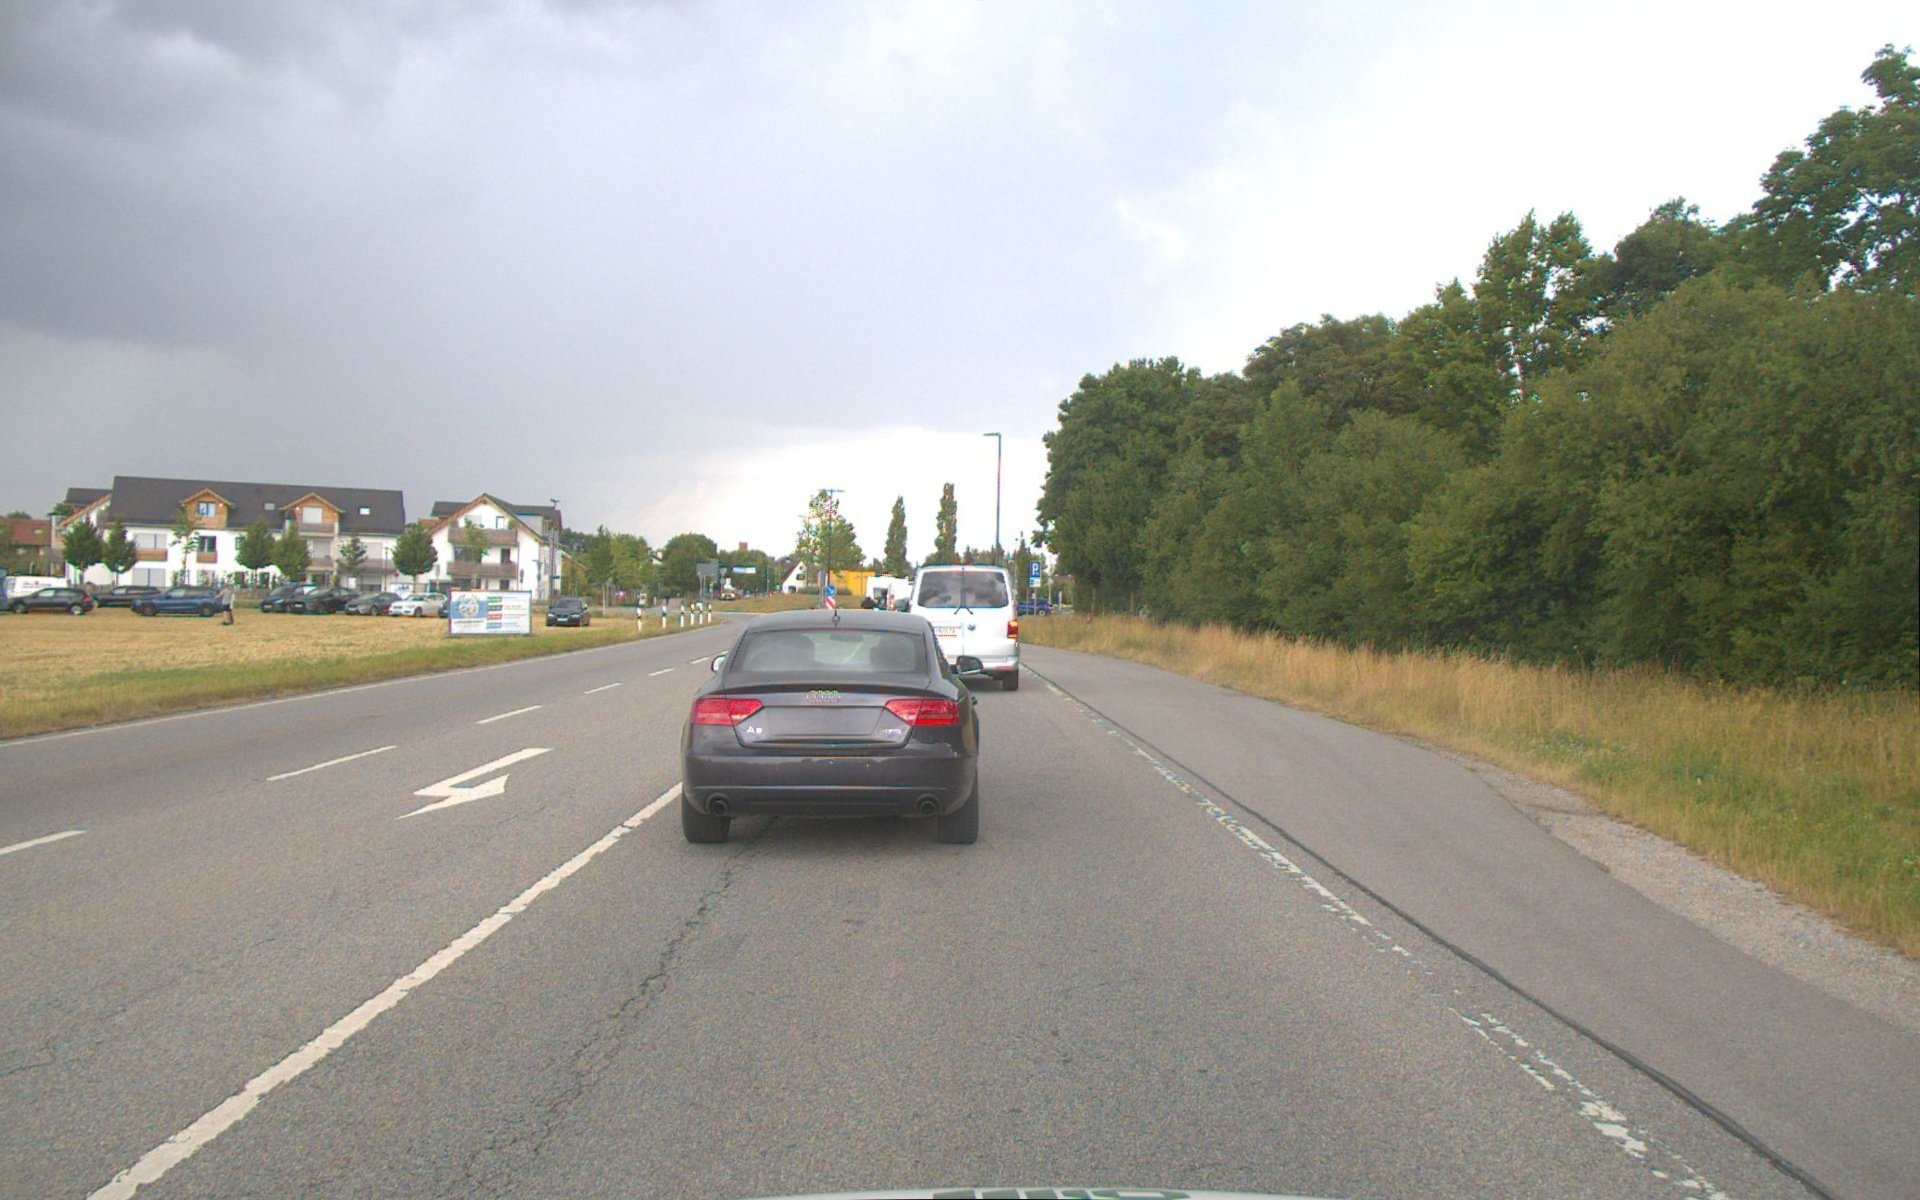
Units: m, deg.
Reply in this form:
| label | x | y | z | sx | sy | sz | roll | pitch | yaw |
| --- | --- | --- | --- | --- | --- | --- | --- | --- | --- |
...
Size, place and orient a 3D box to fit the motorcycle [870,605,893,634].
| label | x | y | z | sx | sy | sz | roll | pitch | yaw |
| --- | --- | --- | --- | --- | --- | --- | --- | --- | --- |
| motorcycle | -3.181 | 0.793 | 67.101 | 0.901 | 1.113 | 2.188 | 1 | 0 | -2 |

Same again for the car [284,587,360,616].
| label | x | y | z | sx | sy | sz | roll | pitch | yaw |
| --- | --- | --- | --- | --- | --- | --- | --- | --- | --- |
| car | -37.458 | 0.096 | 97.186 | 1.952 | 1.657 | 4.214 | 1 | 0 | 17 |

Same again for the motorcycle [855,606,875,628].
| label | x | y | z | sx | sy | sz | roll | pitch | yaw |
| --- | --- | --- | --- | --- | --- | --- | --- | --- | --- |
| motorcycle | -4.642 | 0.805 | 80.762 | 0.925 | 1.037 | 2.283 | 1 | 0 | -3 |

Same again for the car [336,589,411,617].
| label | x | y | z | sx | sy | sz | roll | pitch | yaw |
| --- | --- | --- | --- | --- | --- | --- | --- | --- | --- |
| car | -34.320 | 0.183 | 96.898 | 1.952 | 1.562 | 4.214 | 1 | 0 | 17 |

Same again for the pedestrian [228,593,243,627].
| label | x | y | z | sx | sy | sz | roll | pitch | yaw |
| --- | --- | --- | --- | --- | --- | --- | --- | --- | --- |
| pedestrian | -34.210 | 0.474 | 78.111 | 0.580 | 1.583 | 0.622 | 1 | 0 | -20 |

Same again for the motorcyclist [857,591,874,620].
| label | x | y | z | sx | sy | sz | roll | pitch | yaw |
| --- | --- | --- | --- | --- | --- | --- | --- | --- | --- |
| motorcyclist | -4.622 | 0.281 | 80.743 | 0.770 | 1.380 | 0.853 | 1 | 0 | -3 |

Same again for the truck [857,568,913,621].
| label | x | y | z | sx | sy | sz | roll | pitch | yaw |
| --- | --- | --- | --- | --- | --- | --- | --- | --- | --- |
| truck | -4.212 | -0.315 | 91.793 | 2.577 | 2.785 | 5.857 | 2 | 0 | -7 |

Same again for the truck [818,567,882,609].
| label | x | y | z | sx | sy | sz | roll | pitch | yaw |
| --- | --- | --- | --- | --- | --- | --- | --- | --- | --- |
| truck | -10.307 | -1.155 | 153.904 | 3.522 | 3.641 | 9.903 | 2 | 0 | -19 |

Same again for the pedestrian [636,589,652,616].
| label | x | y | z | sx | sy | sz | roll | pitch | yaw |
| --- | --- | --- | --- | --- | --- | --- | --- | --- | --- |
| pedestrian | -19.352 | 0.151 | 101.304 | 0.686 | 1.613 | 0.658 | 1 | 0 | 16 |

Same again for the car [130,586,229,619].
| label | x | y | z | sx | sy | sz | roll | pitch | yaw |
| --- | --- | --- | --- | --- | --- | --- | --- | --- | --- |
| car | -42.143 | 0.134 | 89.425 | 4.648 | 1.727 | 1.987 | 1 | 0 | -21 |

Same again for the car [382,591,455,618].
| label | x | y | z | sx | sy | sz | roll | pitch | yaw |
| --- | --- | --- | --- | --- | --- | --- | --- | --- | --- |
| car | -31.594 | 0.252 | 96.572 | 1.952 | 1.471 | 4.214 | 1 | 0 | 17 |

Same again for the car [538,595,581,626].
| label | x | y | z | sx | sy | sz | roll | pitch | yaw |
| --- | --- | --- | --- | --- | --- | --- | --- | --- | --- |
| car | -20.226 | 0.510 | 83.685 | 1.958 | 1.467 | 3.989 | 1 | 1 | -12 |

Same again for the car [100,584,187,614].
| label | x | y | z | sx | sy | sz | roll | pitch | yaw |
| --- | --- | --- | --- | --- | --- | --- | --- | --- | --- |
| car | -49.866 | -0.081 | 101.078 | 4.559 | 1.727 | 1.987 | 1 | 0 | -21 |

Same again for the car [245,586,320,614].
| label | x | y | z | sx | sy | sz | roll | pitch | yaw |
| --- | --- | --- | --- | --- | --- | --- | --- | --- | --- |
| car | -40.712 | 0.001 | 99.482 | 1.952 | 1.657 | 4.214 | 1 | 0 | 17 |

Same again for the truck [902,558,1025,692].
| label | x | y | z | sx | sy | sz | roll | pitch | yaw |
| --- | --- | --- | --- | --- | --- | --- | --- | --- | --- |
| truck | 0.030 | 0.385 | 27.842 | 1.865 | 2.033 | 4.628 | 1 | 0 | -1 |

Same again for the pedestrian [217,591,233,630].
| label | x | y | z | sx | sy | sz | roll | pitch | yaw |
| --- | --- | --- | --- | --- | --- | --- | --- | --- | --- |
| pedestrian | -34.287 | 0.496 | 77.184 | 0.539 | 1.817 | 0.676 | 1 | 0 | -12 |

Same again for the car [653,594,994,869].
| label | x | y | z | sx | sy | sz | roll | pitch | yaw |
| --- | --- | --- | --- | --- | --- | --- | --- | --- | --- |
| car | -0.757 | 0.712 | 11.061 | 1.837 | 1.479 | 4.176 | 0 | 0 | -1 |

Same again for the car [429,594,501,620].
| label | x | y | z | sx | sy | sz | roll | pitch | yaw |
| --- | --- | --- | --- | --- | --- | --- | --- | --- | --- |
| car | -28.751 | 0.387 | 96.219 | 1.952 | 1.471 | 4.214 | 1 | 0 | 17 |

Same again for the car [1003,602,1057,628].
| label | x | y | z | sx | sy | sz | roll | pitch | yaw |
| --- | --- | --- | --- | --- | --- | --- | --- | --- | --- |
| car | 5.730 | 1.211 | 135.282 | 3.904 | 2.049 | 2.000 | 2 | 0 | 19 |

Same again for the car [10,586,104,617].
| label | x | y | z | sx | sy | sz | roll | pitch | yaw |
| --- | --- | --- | --- | --- | --- | --- | --- | --- | --- |
| car | -47.514 | 0.089 | 87.117 | 4.096 | 1.545 | 1.987 | 1 | 0 | -21 |

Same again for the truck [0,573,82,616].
| label | x | y | z | sx | sy | sz | roll | pitch | yaw |
| --- | --- | --- | --- | --- | --- | --- | --- | --- | --- |
| truck | -50.998 | -0.318 | 89.893 | 5.491 | 2.235 | 2.588 | 1 | 0 | -24 |

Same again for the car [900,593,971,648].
| label | x | y | z | sx | sy | sz | roll | pitch | yaw |
| --- | --- | --- | --- | --- | --- | --- | --- | --- | --- |
| car | -0.718 | 0.571 | 47.999 | 1.953 | 1.511 | 3.999 | 1 | 0 | -1 |

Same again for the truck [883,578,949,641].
| label | x | y | z | sx | sy | sz | roll | pitch | yaw |
| --- | --- | --- | --- | --- | --- | --- | --- | --- | --- |
| truck | -1.483 | 0.321 | 57.386 | 2.149 | 2.049 | 5.084 | 1 | 0 | -1 |

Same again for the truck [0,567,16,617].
| label | x | y | z | sx | sy | sz | roll | pitch | yaw |
| --- | --- | --- | --- | --- | --- | --- | --- | --- | --- |
| truck | -50.249 | -0.429 | 82.346 | 5.376 | 2.489 | 2.376 | 1 | 0 | -24 |

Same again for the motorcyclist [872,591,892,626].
| label | x | y | z | sx | sy | sz | roll | pitch | yaw |
| --- | --- | --- | --- | --- | --- | --- | --- | --- | --- |
| motorcyclist | -3.151 | 0.335 | 67.111 | 0.756 | 1.407 | 0.820 | 1 | 0 | -2 |
